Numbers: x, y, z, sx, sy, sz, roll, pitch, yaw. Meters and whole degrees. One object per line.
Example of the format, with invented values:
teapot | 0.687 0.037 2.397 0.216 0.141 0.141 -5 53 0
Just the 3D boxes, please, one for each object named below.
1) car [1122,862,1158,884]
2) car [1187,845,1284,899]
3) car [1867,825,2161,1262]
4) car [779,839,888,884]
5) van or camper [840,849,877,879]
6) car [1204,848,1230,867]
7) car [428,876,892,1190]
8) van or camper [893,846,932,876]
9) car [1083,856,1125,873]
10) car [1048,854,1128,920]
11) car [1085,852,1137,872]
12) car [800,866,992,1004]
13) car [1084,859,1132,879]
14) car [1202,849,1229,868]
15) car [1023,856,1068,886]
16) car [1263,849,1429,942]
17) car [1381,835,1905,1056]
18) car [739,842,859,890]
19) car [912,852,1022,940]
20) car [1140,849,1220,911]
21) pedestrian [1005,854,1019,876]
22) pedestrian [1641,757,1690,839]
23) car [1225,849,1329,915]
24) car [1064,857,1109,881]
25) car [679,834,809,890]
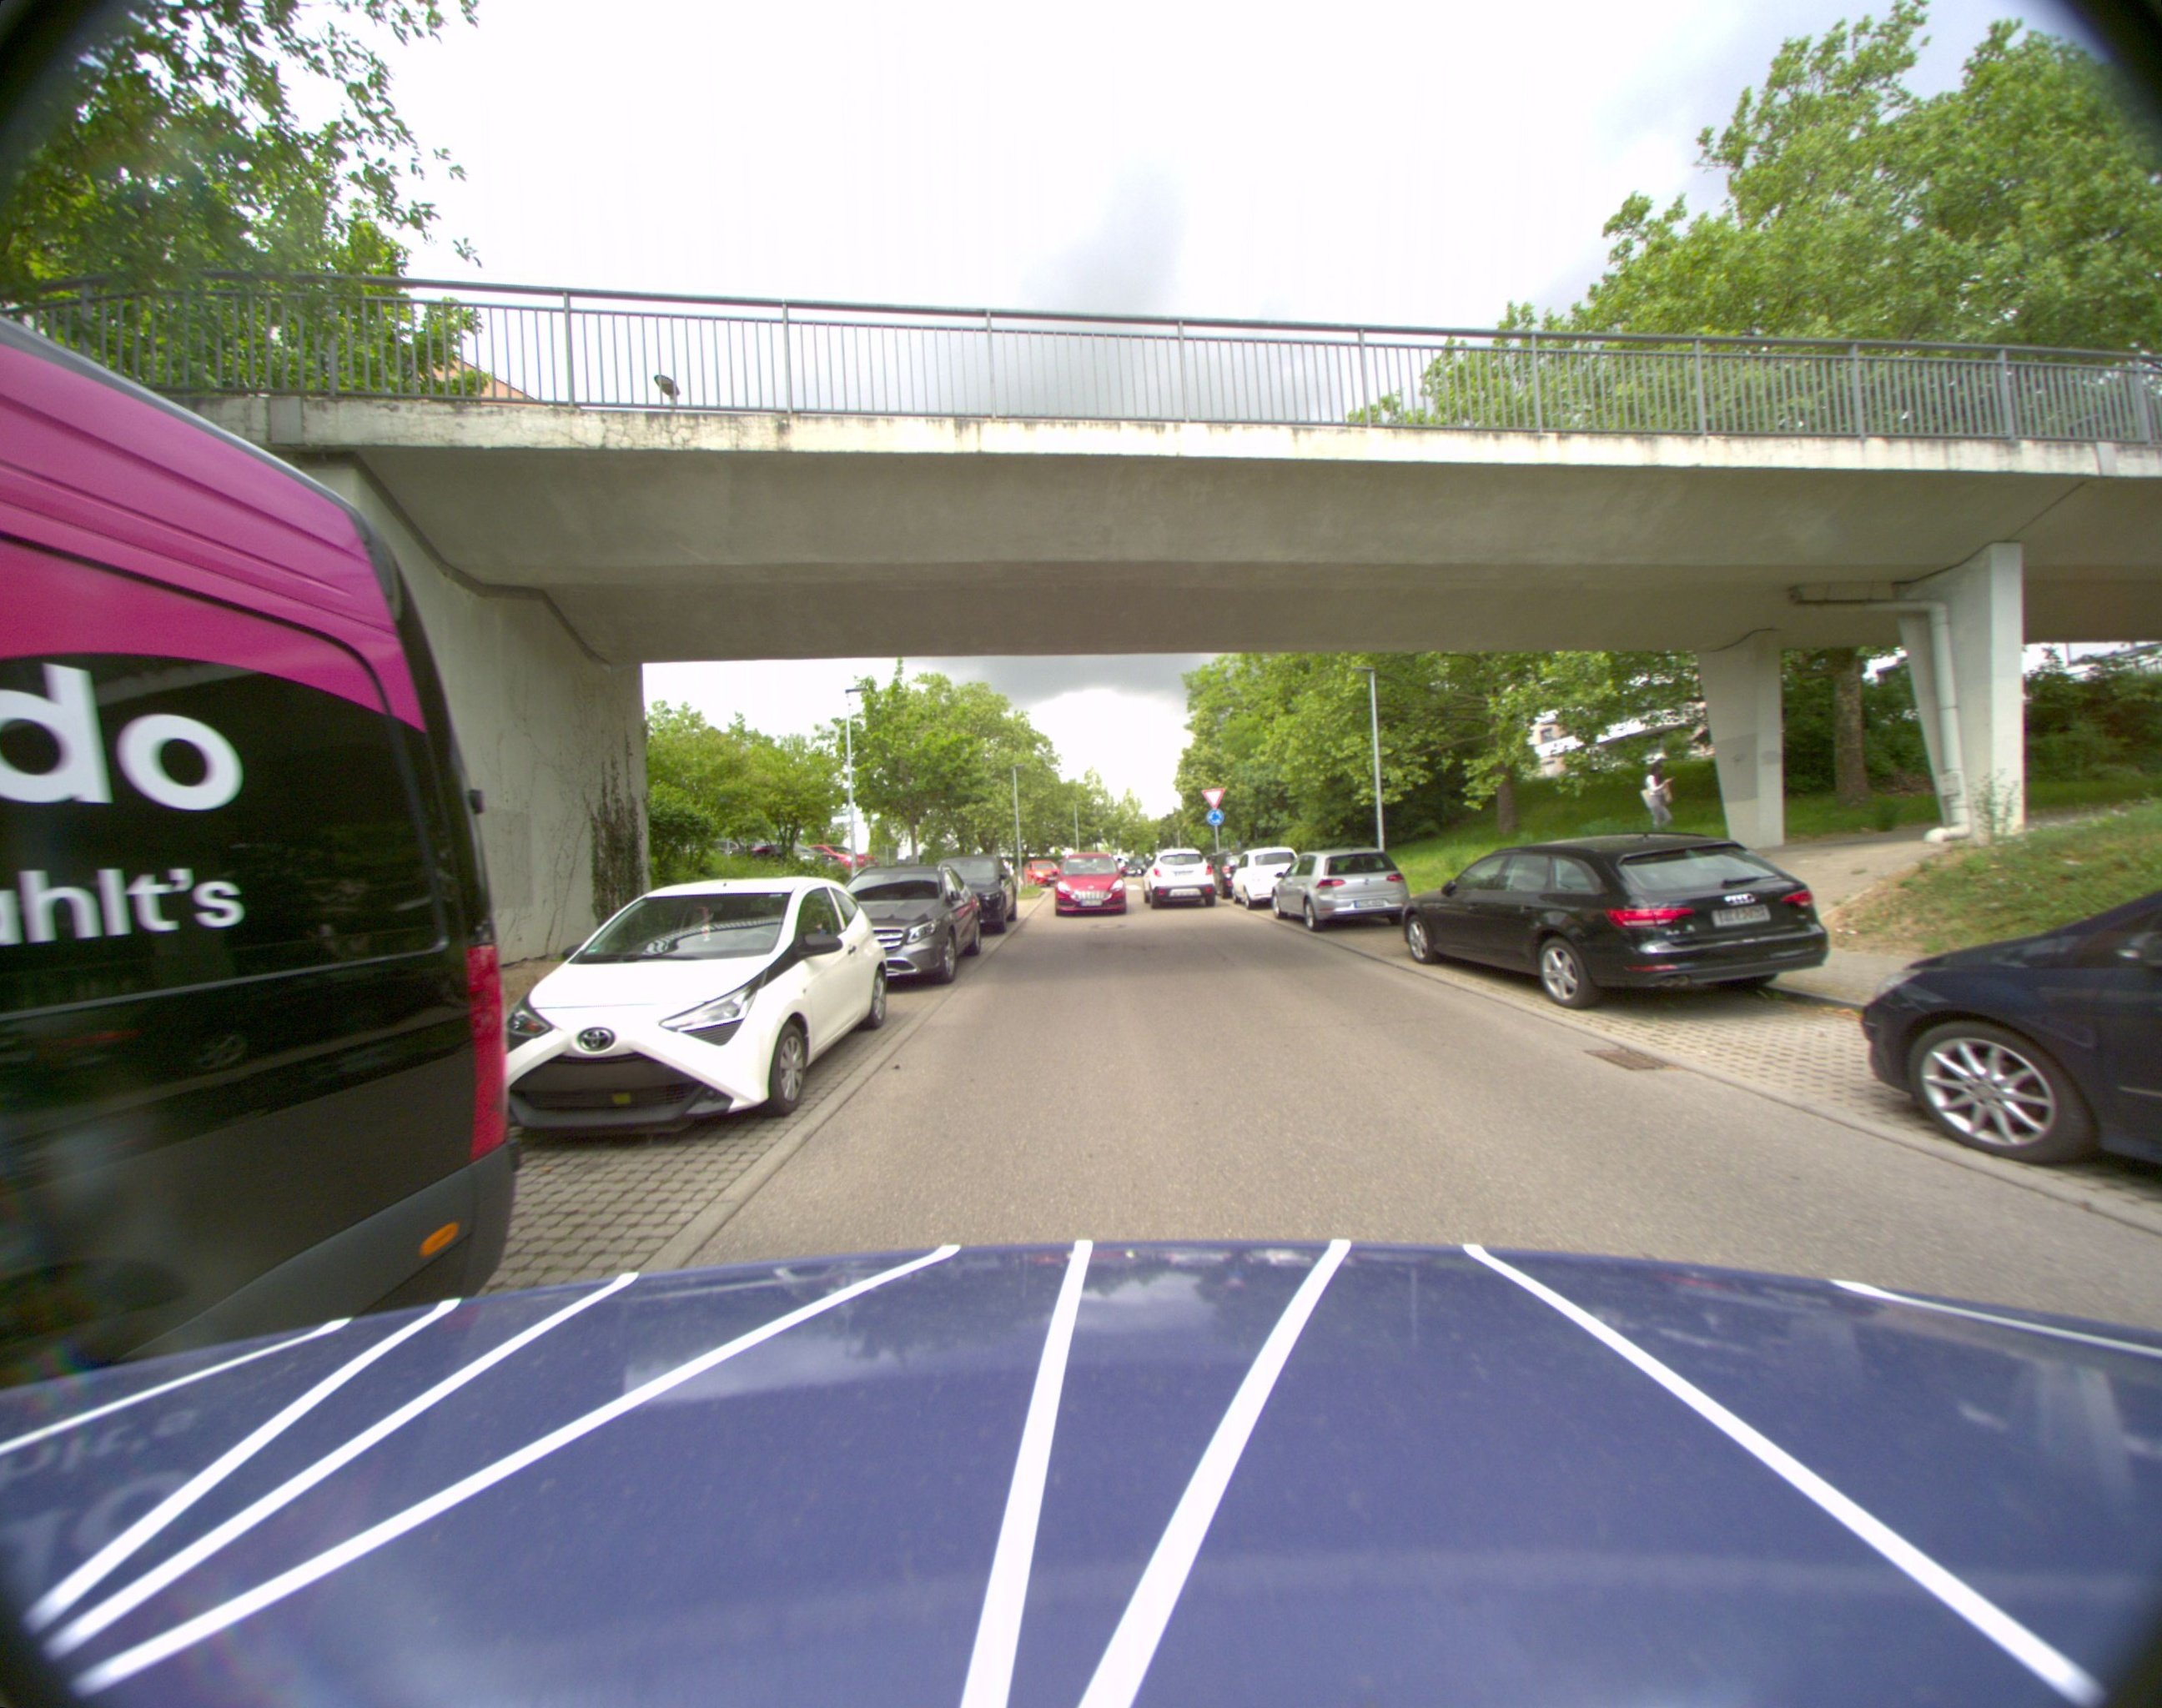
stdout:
car | 4.930 1.515 62.970 1.756 1.607 4.006 -4 -1 22
car | 4.952 0.652 24.897 1.792 1.459 3.999 -5 -2 -8
car | 4.921 0.670 1.871 1.889 1.550 3.838 -5 0 0
car | -9.459 0.303 29.027 3.654 1.430 1.687 -4 -1 23
van or camper | -23.039 1.065 78.490 2.118 2.781 4.470 -3 -1 -36
car | 13.228 0.336 73.843 1.802 1.606 4.483 -7 -1 17
car | -2.584 0.973 5.599 1.566 1.487 3.330 -2 0 -1
van or camper | -17.411 0.738 78.296 2.118 2.781 4.470 -3 -1 -36
car | 2.120 0.972 69.566 3.516 1.452 1.741 -1 0 17
car | 0.269 0.837 21.304 1.978 1.635 4.537 1 0 2
car | 2.933 0.745 74.746 4.780 1.821 1.845 -2 0 16
car | -2.418 0.984 11.019 1.704 1.488 4.118 -2 0 0
car | 2.535 1.391 71.948 4.156 1.592 1.741 -4 -1 16
car | 12.152 0.401 68.652 1.692 1.456 4.462 -7 -2 17
car | -2.035 1.006 42.884 1.760 1.506 3.997 -4 -1 -13
car | 5.021 0.702 15.008 1.889 1.419 3.999 -4 1 1
car | 5.048 0.683 7.840 1.890 1.500 4.451 -4 0 -3
car | -10.003 0.433 26.928 3.791 1.413 1.687 -4 -1 23
car | -2.392 0.843 16.998 1.818 1.668 4.370 -2 0 -1
car | 2.827 0.705 22.464 1.752 1.601 4.052 -2 0 0
pedestrian | -5.483 0.862 60.594 0.870 1.647 0.594 -4 -1 16
pedestrian | 12.817 -1.209 16.686 0.658 1.711 0.741 -4 -1 30
car | 5.059 0.668 20.126 1.889 1.452 3.546 -3 1 2
car | 0.445 1.072 55.173 1.756 1.506 4.006 -4 -1 22
car | -10.802 0.274 24.339 3.654 1.489 1.687 -4 -1 23
